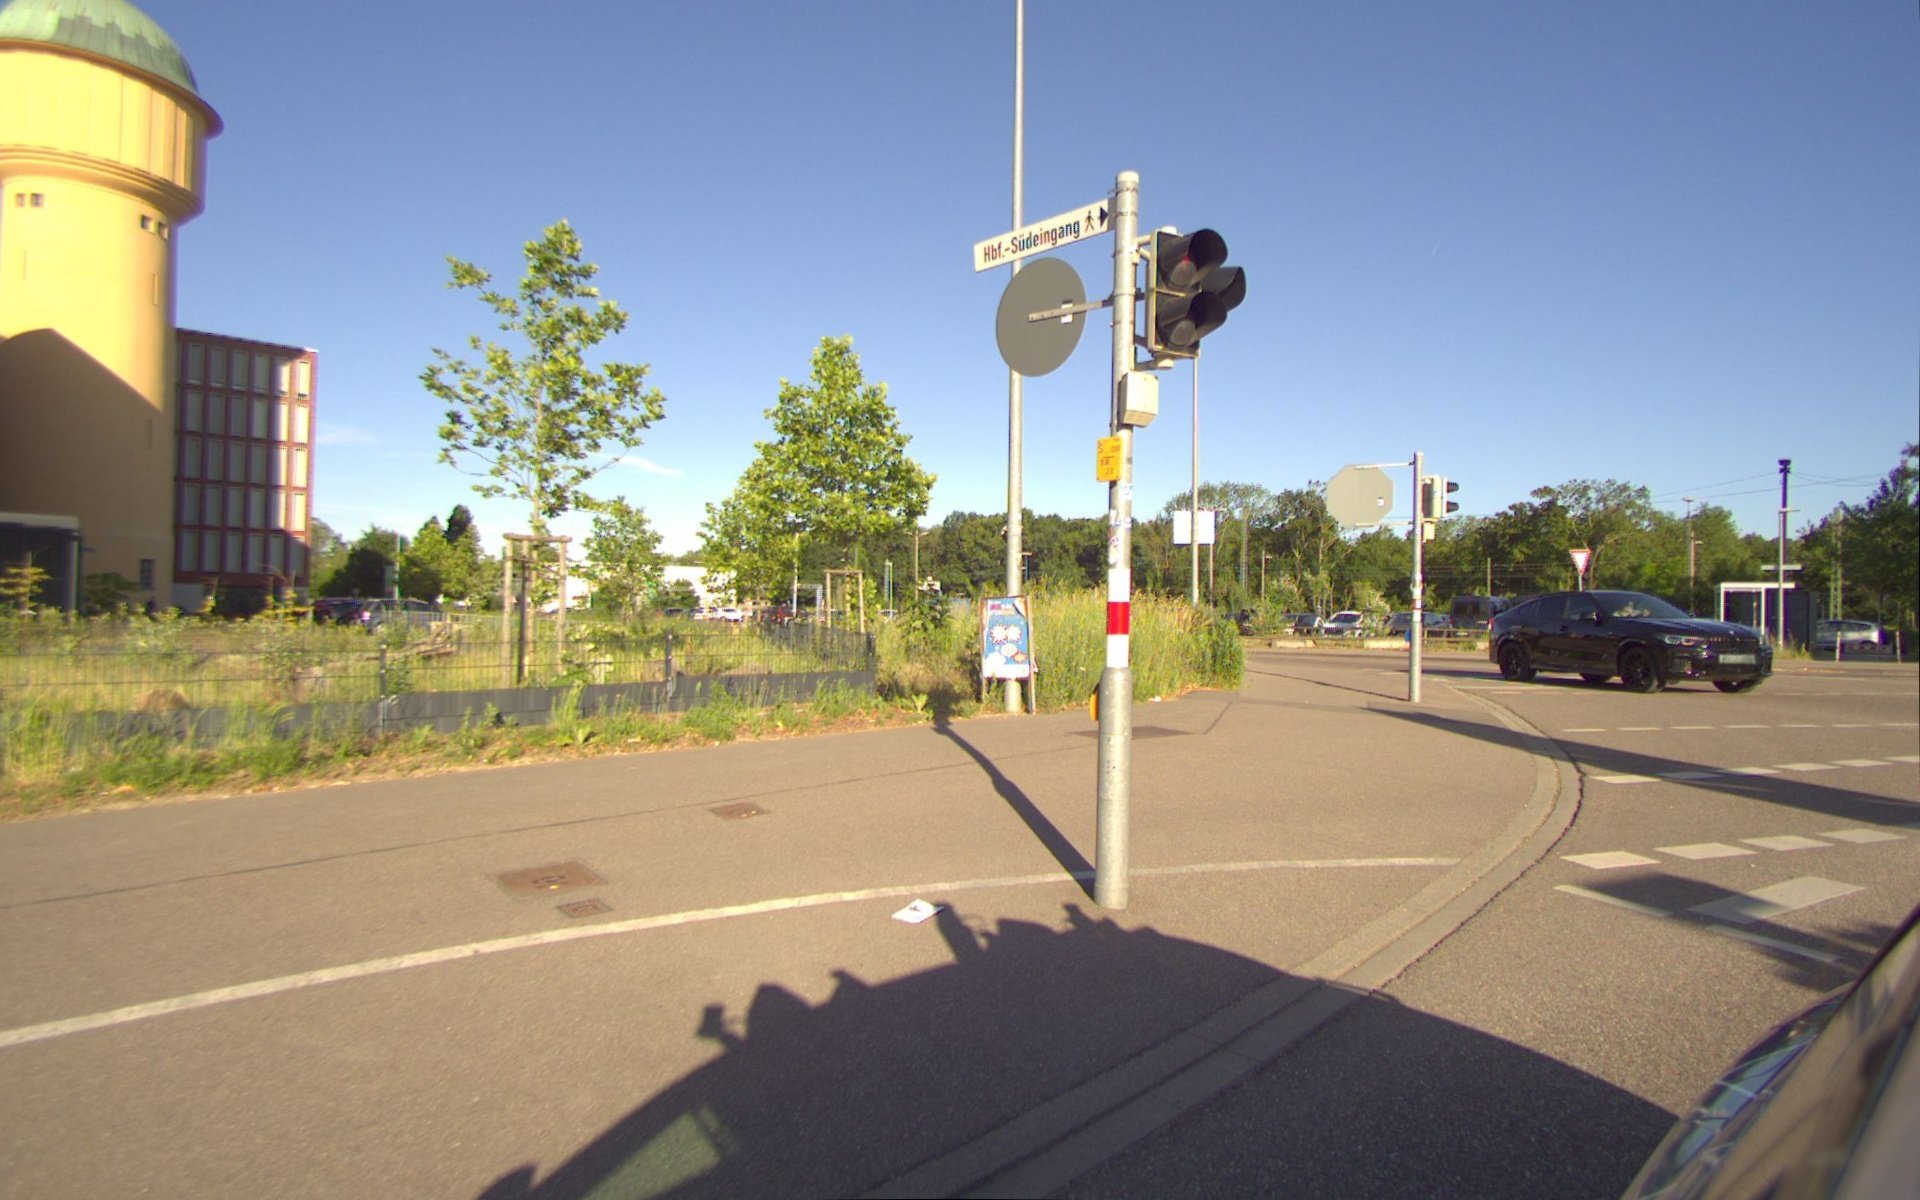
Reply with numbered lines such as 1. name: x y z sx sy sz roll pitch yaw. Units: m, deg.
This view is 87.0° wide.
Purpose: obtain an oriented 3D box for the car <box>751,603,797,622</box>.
1. car: -18.289 1.178 99.559 4.000 1.799 1.868 -1 0 -37

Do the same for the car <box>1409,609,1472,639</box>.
1. car: 25.540 1.244 53.710 3.689 1.527 1.830 1 -1 -44

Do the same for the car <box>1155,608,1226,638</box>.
1. car: 11.658 1.154 51.056 1.832 1.472 3.865 -1 -1 42

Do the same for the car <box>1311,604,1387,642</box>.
1. car: 17.334 1.012 45.044 1.879 1.631 3.995 -1 -2 42

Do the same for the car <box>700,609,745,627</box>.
1. car: -24.826 1.873 105.874 1.863 1.801 4.376 -1 -1 44

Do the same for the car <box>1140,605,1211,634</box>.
1. car: 13.723 1.201 64.416 4.621 1.716 2.036 -1 0 -41

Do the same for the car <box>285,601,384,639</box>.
1. car: -34.743 1.107 56.270 4.453 2.039 1.996 1 -1 -41

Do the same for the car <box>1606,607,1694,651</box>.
1. car: 25.386 1.035 37.183 4.203 1.530 1.886 1 -1 -44

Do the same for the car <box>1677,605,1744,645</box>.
1. car: 36.294 1.184 48.885 4.134 1.832 1.981 0 -1 -45

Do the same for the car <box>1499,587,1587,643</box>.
1. car: 28.206 0.727 48.907 2.394 2.549 5.423 -1 -1 45

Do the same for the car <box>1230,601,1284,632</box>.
1. car: 17.860 0.990 60.801 1.763 1.755 3.725 -1 0 40

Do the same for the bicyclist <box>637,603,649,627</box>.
1. bicyclist: -25.237 1.213 80.558 0.559 1.895 0.851 1 -2 -43

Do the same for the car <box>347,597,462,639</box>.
1. car: -25.350 0.822 46.229 4.259 1.851 1.996 1 -1 -43

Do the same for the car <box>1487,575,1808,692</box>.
1. car: 11.623 0.508 17.633 2.007 1.736 4.756 0 0 -6

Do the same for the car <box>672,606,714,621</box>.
1. car: -28.676 1.427 108.897 1.758 1.506 4.095 -1 0 42

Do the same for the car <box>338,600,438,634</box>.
1. car: -27.442 0.794 48.587 3.928 1.570 1.832 1 -1 -40

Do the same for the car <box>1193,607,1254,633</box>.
1. car: 16.336 1.226 62.651 3.877 1.506 1.886 -1 0 -44

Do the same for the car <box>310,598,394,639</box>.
1. car: -31.369 0.958 52.282 3.424 2.047 1.832 1 -1 -42

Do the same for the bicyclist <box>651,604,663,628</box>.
1. bicyclist: -23.717 1.232 79.282 0.559 1.895 0.851 1 -2 -43

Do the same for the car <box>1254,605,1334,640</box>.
1. car: 15.558 1.051 47.057 3.932 1.535 1.852 1 -2 -43

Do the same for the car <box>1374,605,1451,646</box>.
1. car: 19.310 1.053 43.098 1.865 1.675 4.082 -1 -1 42

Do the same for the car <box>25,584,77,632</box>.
1. car: -45.249 0.397 50.435 1.836 2.293 4.928 1 -1 -42

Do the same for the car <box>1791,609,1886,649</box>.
1. car: 40.553 1.290 46.840 2.155 1.752 4.452 0 -1 26

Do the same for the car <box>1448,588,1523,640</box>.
1. car: 26.248 0.711 50.520 2.122 2.499 4.409 -1 -2 45

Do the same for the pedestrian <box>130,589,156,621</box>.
1. pedestrian: -48.742 0.295 60.377 0.961 1.887 0.888 0 -1 25

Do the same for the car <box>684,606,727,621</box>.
1. car: -26.924 1.413 107.105 1.755 1.504 4.095 -1 0 42
